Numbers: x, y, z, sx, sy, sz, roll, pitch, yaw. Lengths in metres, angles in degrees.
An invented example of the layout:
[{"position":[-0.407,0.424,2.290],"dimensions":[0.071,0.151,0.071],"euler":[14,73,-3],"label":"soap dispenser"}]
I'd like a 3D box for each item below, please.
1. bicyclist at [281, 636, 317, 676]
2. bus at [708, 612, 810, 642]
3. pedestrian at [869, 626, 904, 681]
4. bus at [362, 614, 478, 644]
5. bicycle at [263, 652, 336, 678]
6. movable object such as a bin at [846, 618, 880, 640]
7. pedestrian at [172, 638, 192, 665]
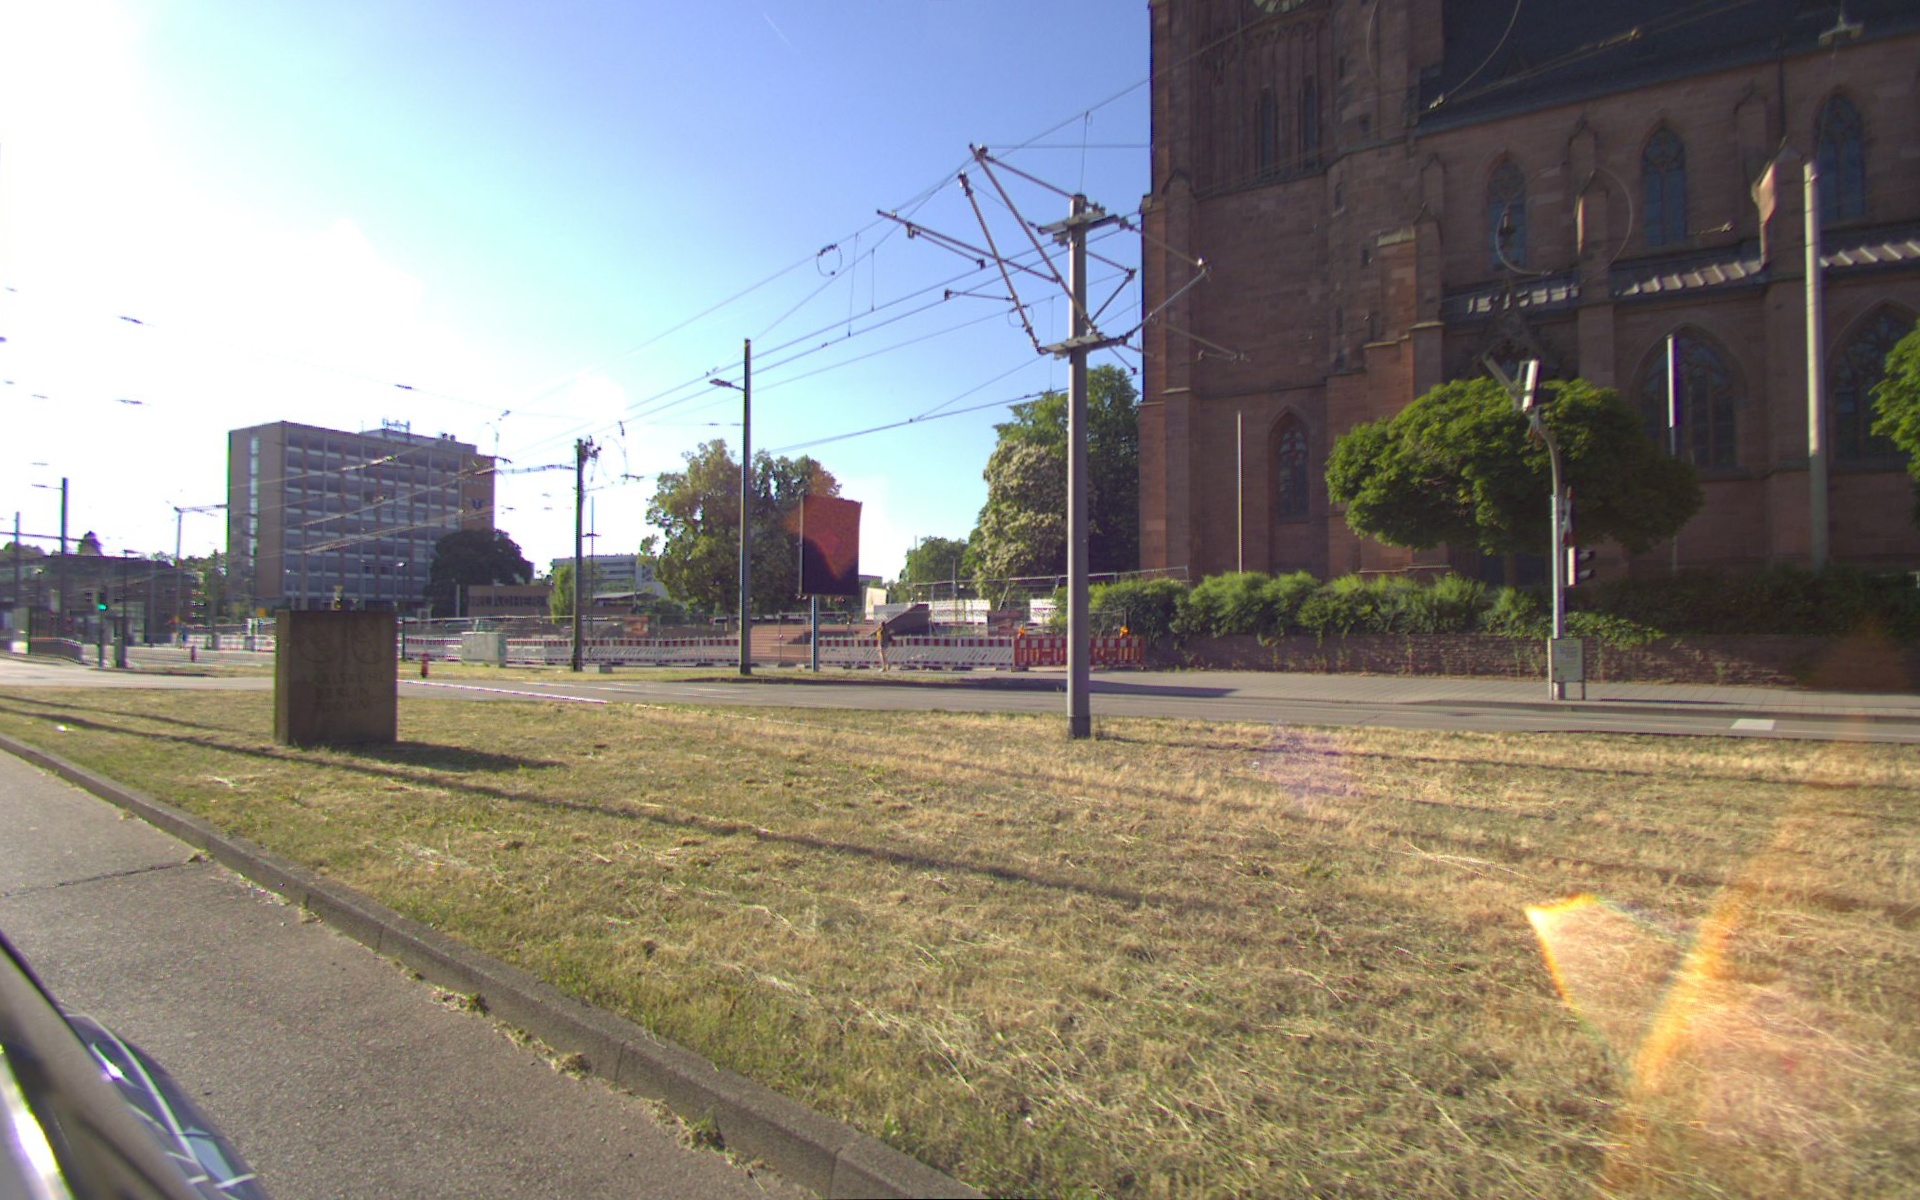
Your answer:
[{"position":[-31.018,2.628,47.492],"dimensions":[1.299,1.823,0.967],"euler":[0,-4,-41],"label":"bicyclist"},{"position":[-25.368,3.442,128.209],"dimensions":[12.468,3.219,3.254],"euler":[-2,-4,-5],"label":"bus"},{"position":[-2.455,1.786,33.690],"dimensions":[0.862,1.787,0.721],"euler":[-5,-5,38],"label":"pedestrian"},{"position":[-66.283,3.611,124.504],"dimensions":[12.468,3.219,2.844],"euler":[-2,-4,-5],"label":"bus"},{"position":[-30.974,3.044,47.490],"dimensions":[2.780,1.105,0.967],"euler":[0,-4,-42],"label":"bicycle"},{"position":[-10.076,3.012,105.266],"dimensions":[1.986,2.029,3.971],"euler":[-4,-5,21],"label":"movable object such as a bin"},{"position":[-53.260,3.500,69.280],"dimensions":[1.179,1.782,0.793],"euler":[-6,-6,41],"label":"pedestrian"}]
